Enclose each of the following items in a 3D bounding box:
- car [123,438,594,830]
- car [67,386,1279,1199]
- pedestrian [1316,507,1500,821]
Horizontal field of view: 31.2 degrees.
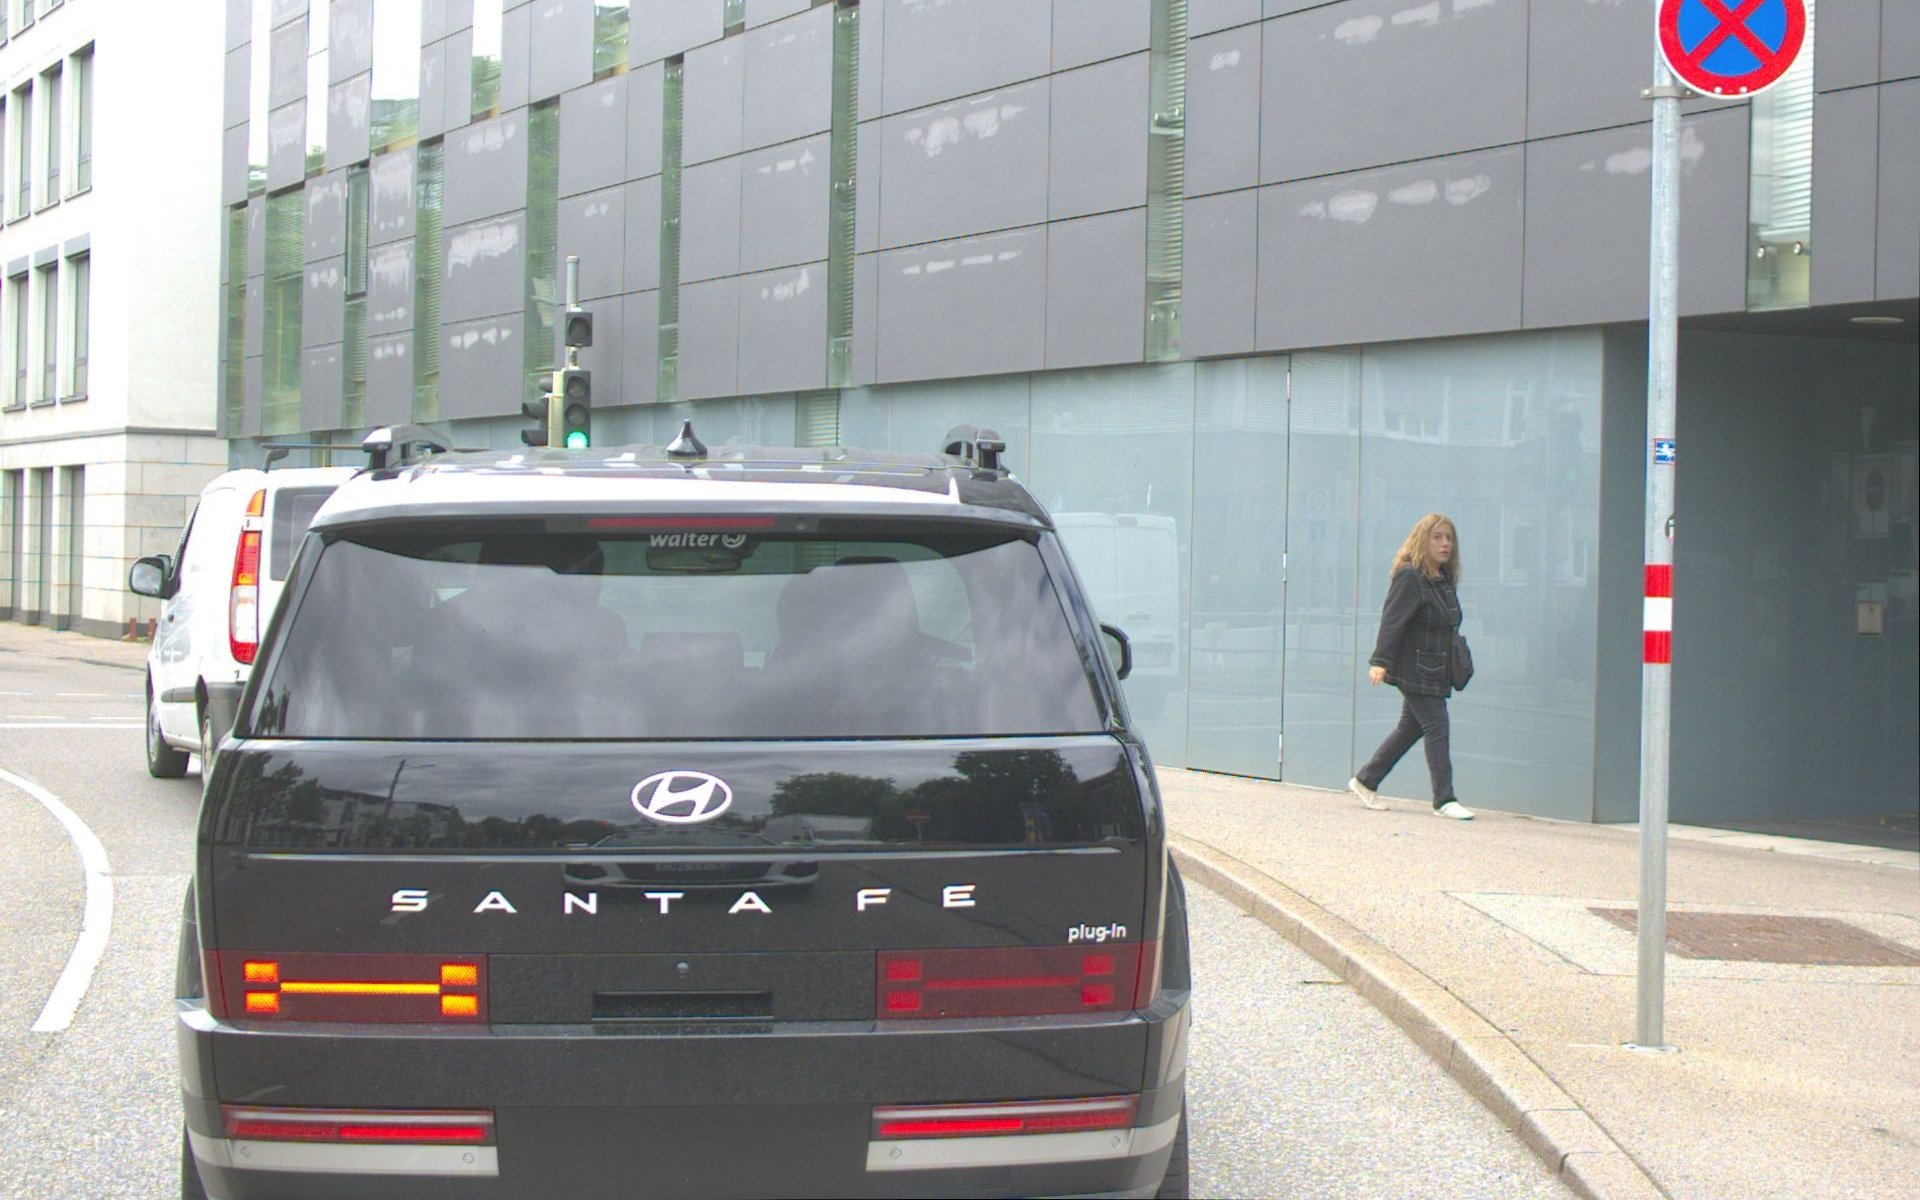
[{"bbox_3d":[-3.599,0.142,19.852,1.931,1.987,4.536,1,1,-19],"label":"car"},{"bbox_3d":[-0.682,0.507,7.633,1.908,1.743,4.398,0,1,-6],"label":"car"},{"bbox_3d":[2.517,0.348,19.259,0.863,1.688,0.713,2,0,17],"label":"pedestrian"}]
